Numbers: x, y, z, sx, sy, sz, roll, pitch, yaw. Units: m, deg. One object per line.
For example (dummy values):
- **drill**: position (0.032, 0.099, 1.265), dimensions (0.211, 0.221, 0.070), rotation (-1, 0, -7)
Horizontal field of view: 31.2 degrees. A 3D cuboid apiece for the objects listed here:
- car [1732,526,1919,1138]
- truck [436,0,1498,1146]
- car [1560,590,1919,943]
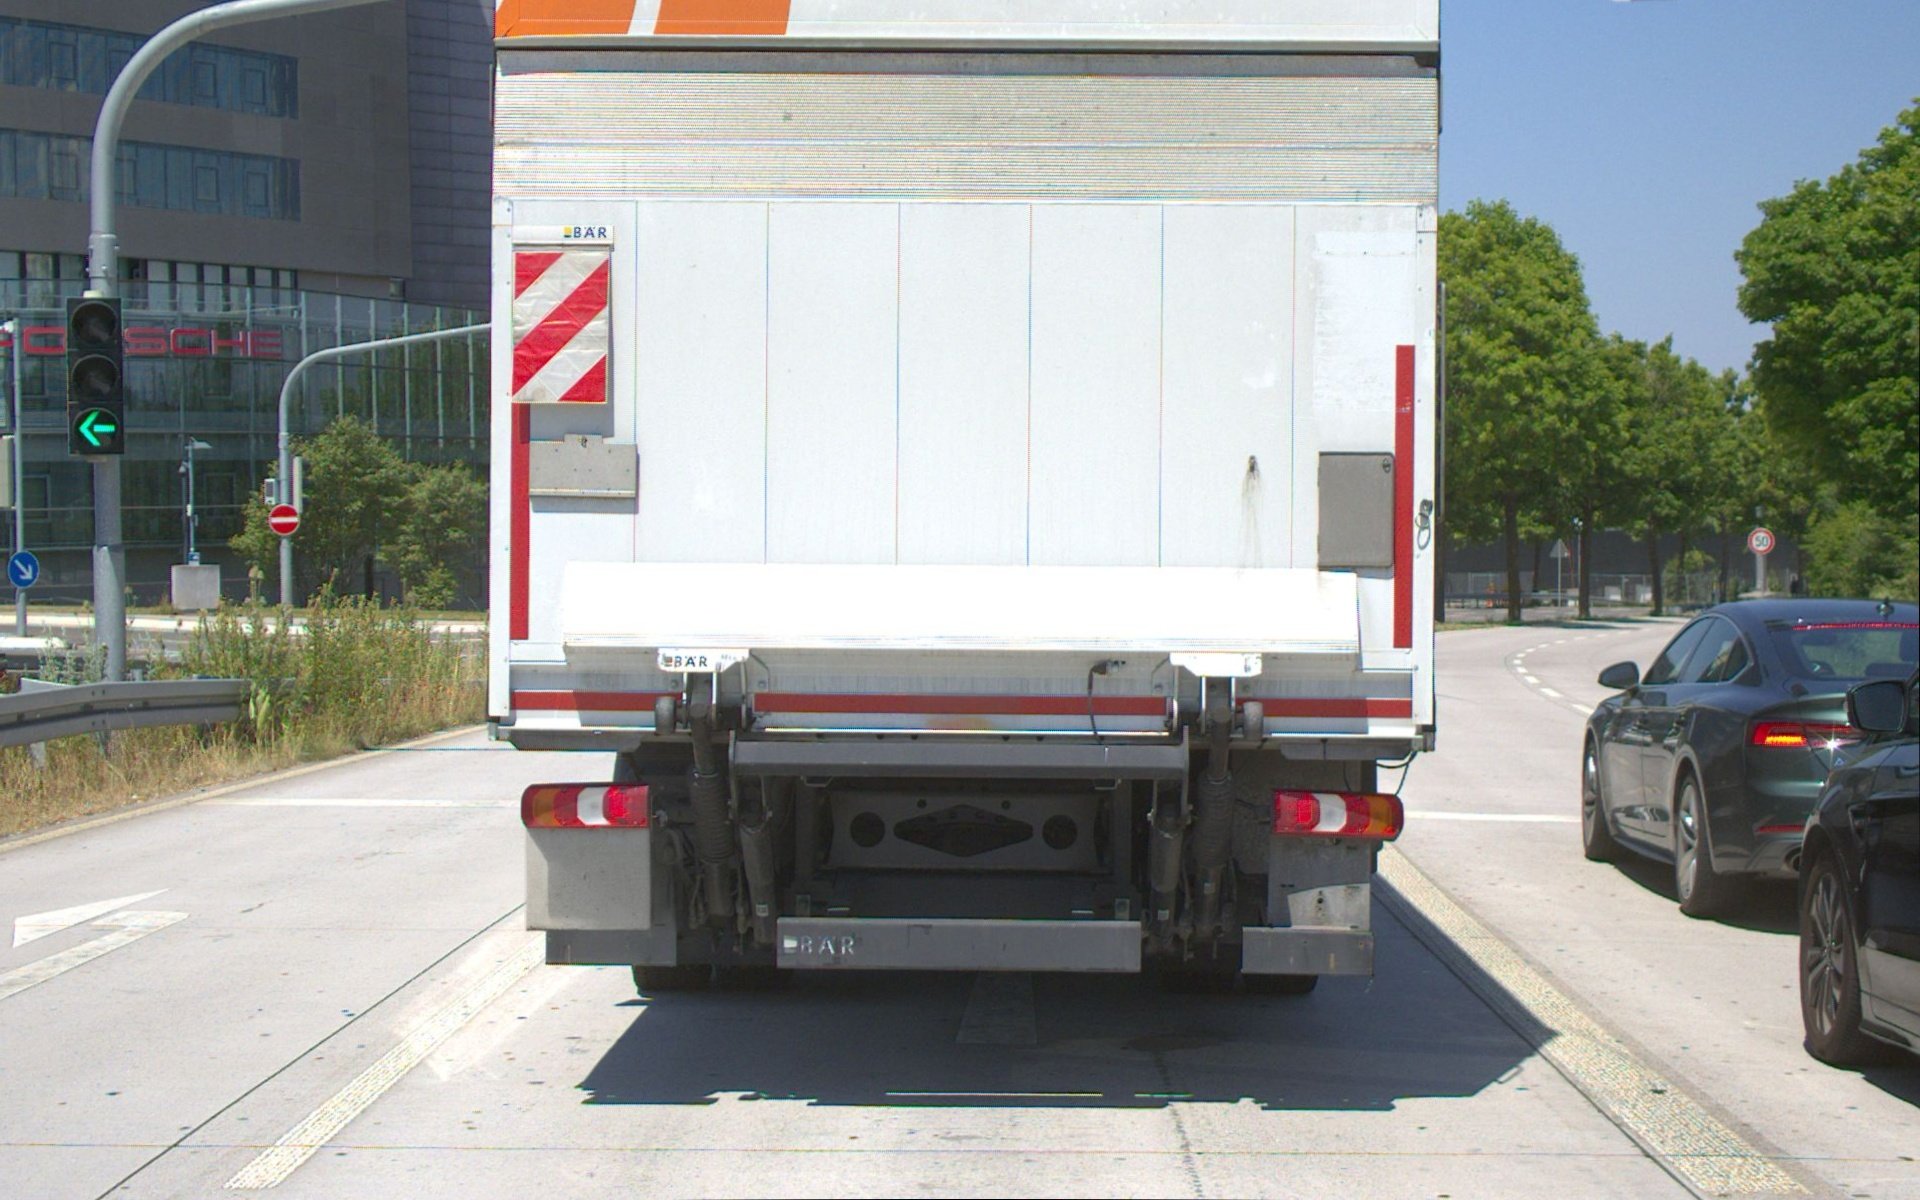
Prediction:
- **car**: position (3.470, 0.632, 8.927), dimensions (1.783, 1.634, 4.647), rotation (1, 0, -1)
- **truck**: position (0.044, -0.524, 13.657), dimensions (2.769, 3.846, 9.370), rotation (0, 0, 0)
- **car**: position (4.041, 0.672, 16.157), dimensions (1.768, 1.405, 4.609), rotation (1, 0, 2)
